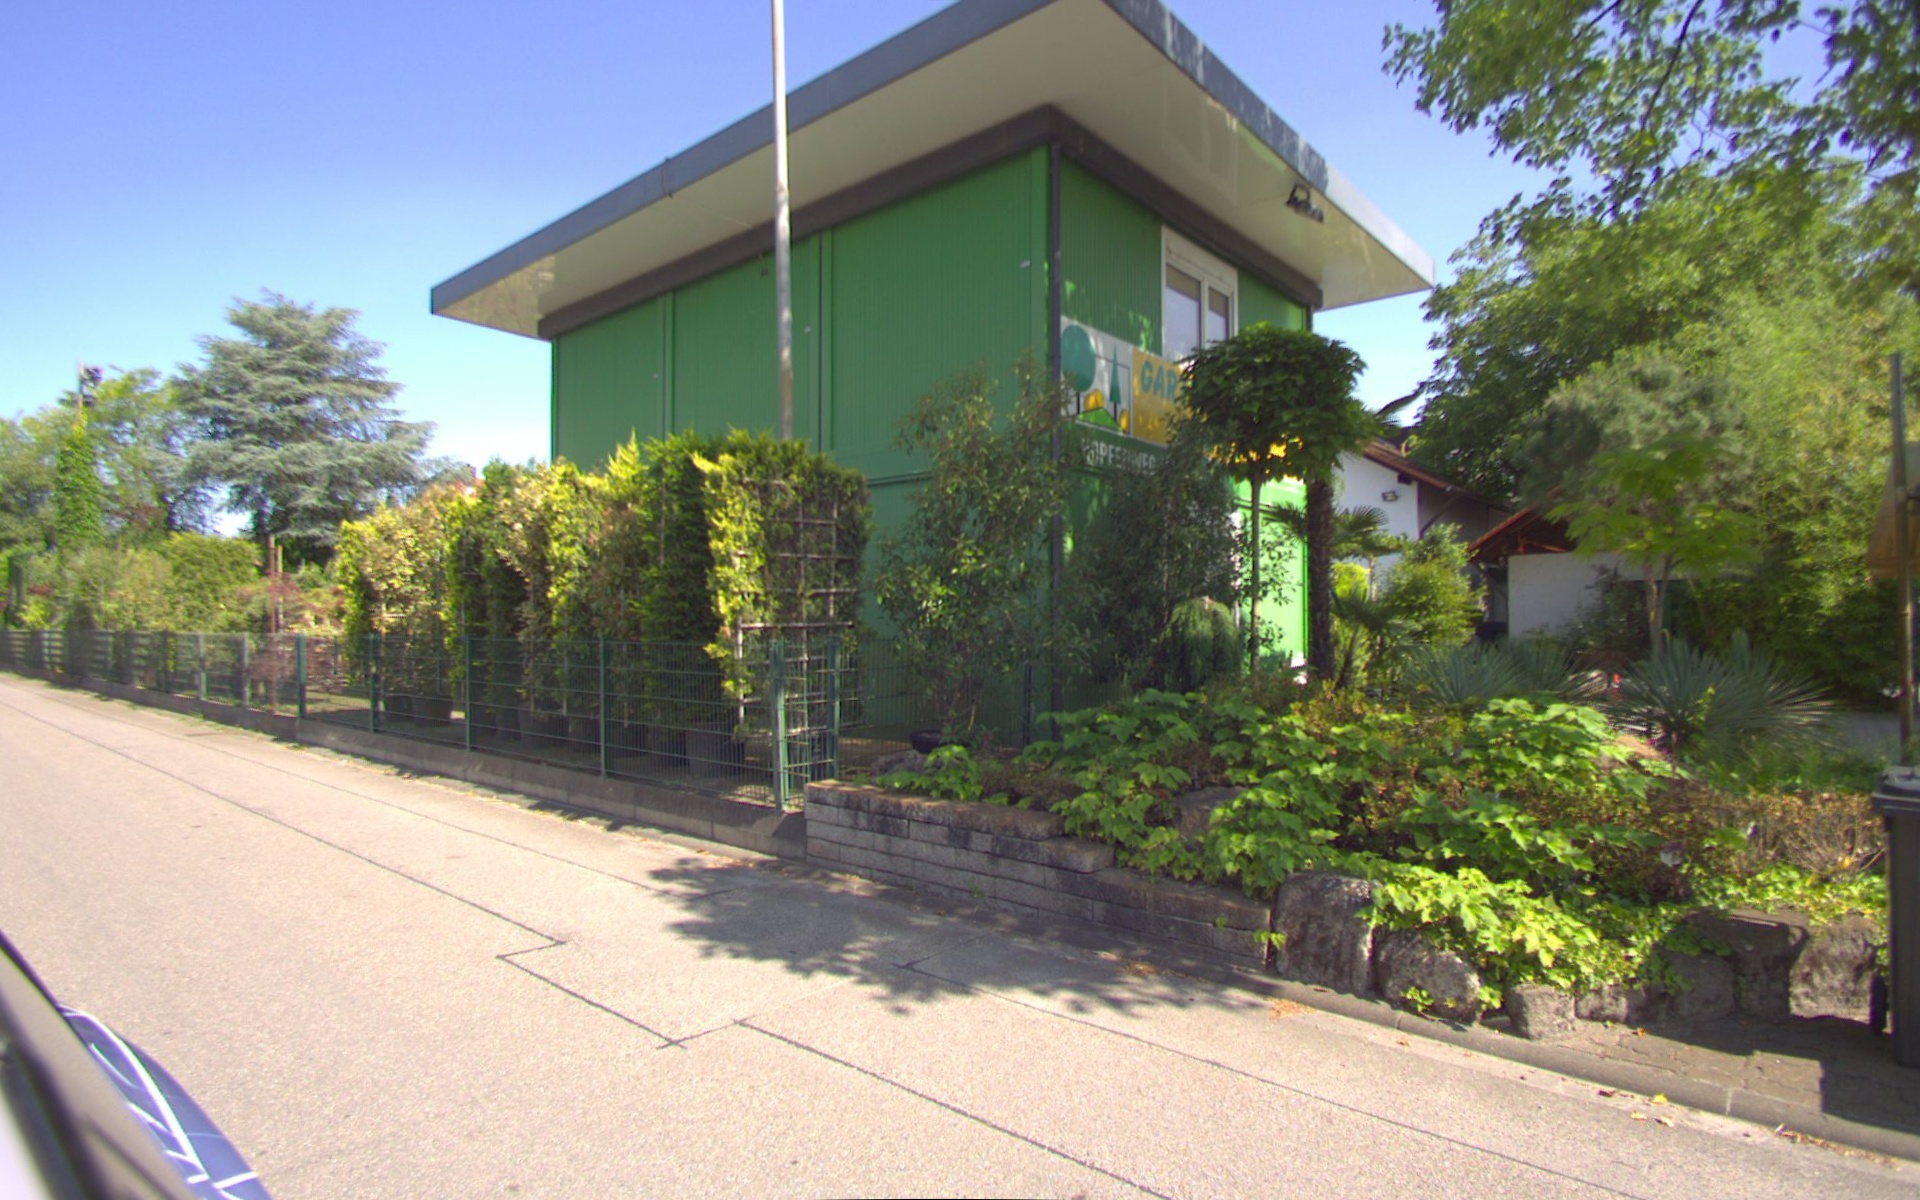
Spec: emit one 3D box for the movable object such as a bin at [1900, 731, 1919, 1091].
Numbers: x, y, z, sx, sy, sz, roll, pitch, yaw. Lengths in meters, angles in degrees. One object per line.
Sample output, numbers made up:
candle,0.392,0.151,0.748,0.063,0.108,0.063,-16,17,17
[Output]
movable object such as a bin,3.286,0.963,3.088,0.568,1.032,0.576,-2,-1,41
